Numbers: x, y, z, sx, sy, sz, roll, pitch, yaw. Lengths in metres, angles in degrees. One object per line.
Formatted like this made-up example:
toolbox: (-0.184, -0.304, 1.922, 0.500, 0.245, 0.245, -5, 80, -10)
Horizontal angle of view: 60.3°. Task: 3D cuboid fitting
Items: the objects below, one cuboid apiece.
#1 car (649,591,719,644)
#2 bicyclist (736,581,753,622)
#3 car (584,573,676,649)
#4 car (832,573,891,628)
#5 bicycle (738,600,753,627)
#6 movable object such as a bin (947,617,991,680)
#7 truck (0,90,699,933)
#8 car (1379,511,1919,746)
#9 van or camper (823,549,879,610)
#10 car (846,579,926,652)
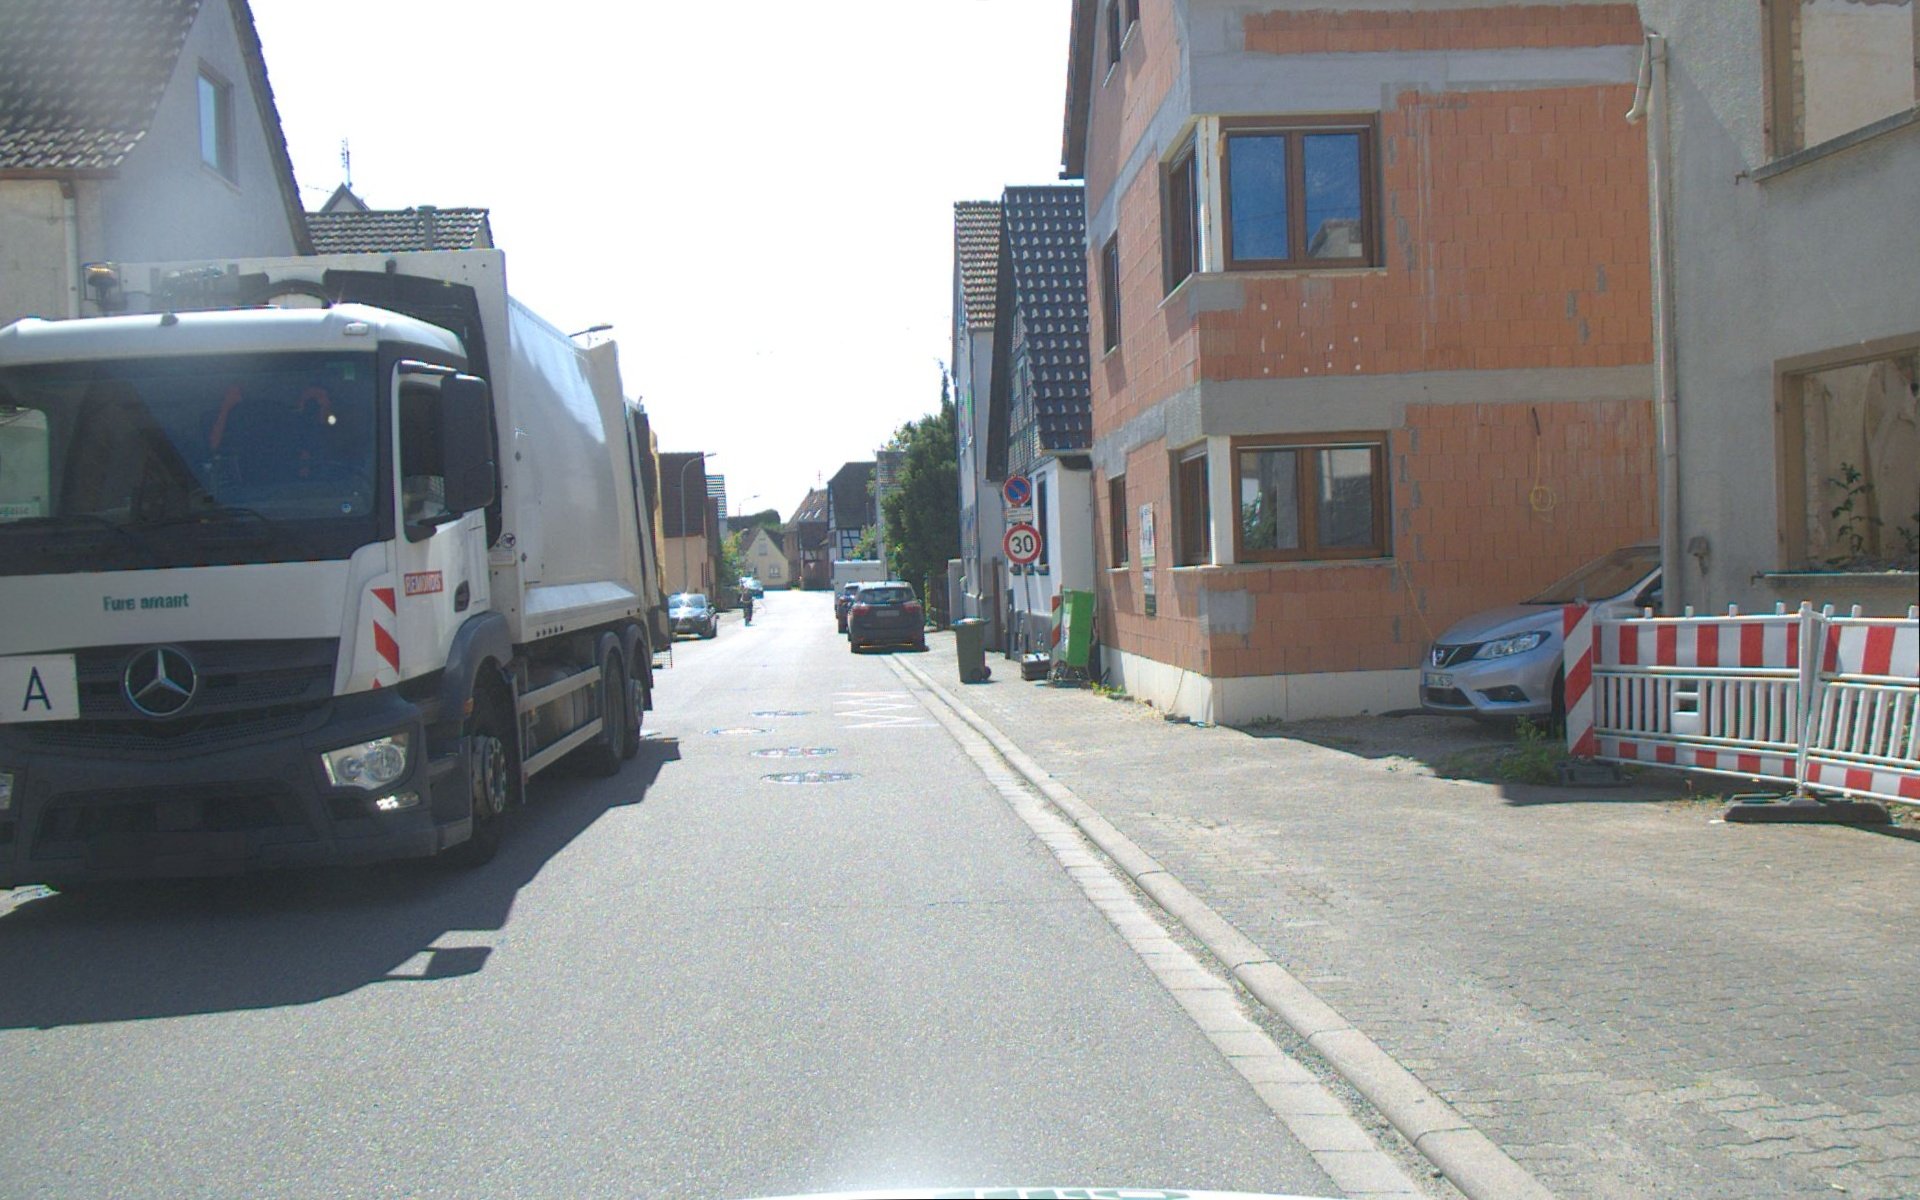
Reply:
car: (-9.470, 0.571, 57.048, 1.808, 1.553, 4.762, -4, 1, -4)
bicyclist: (-9.792, 0.058, 75.043, 0.690, 1.801, 0.623, -2, 0, -9)
car: (-9.011, 0.252, 45.464, 1.799, 1.869, 4.350, -4, 1, -4)
car: (-3.345, -0.016, 56.969, 1.758, 1.659, 4.360, -3, 1, -1)
bicycle: (-9.681, 0.596, 74.764, 0.578, 1.167, 1.945, -4, 1, -8)
movable object such as a bin: (0.143, 0.744, 25.528, 0.526, 0.929, 0.552, -3, 1, 12)
truck: (-4.068, -0.462, 13.033, 2.642, 3.815, 10.863, -2, 1, -3)
car: (5.789, 0.181, 13.721, 4.015, 1.533, 1.866, -4, 1, -10)
van or camper: (-5.354, -1.007, 80.855, 2.473, 2.743, 4.550, -3, 1, -5)
car: (-1.863, 0.325, 40.575, 1.762, 1.587, 4.628, -3, 1, -4)
